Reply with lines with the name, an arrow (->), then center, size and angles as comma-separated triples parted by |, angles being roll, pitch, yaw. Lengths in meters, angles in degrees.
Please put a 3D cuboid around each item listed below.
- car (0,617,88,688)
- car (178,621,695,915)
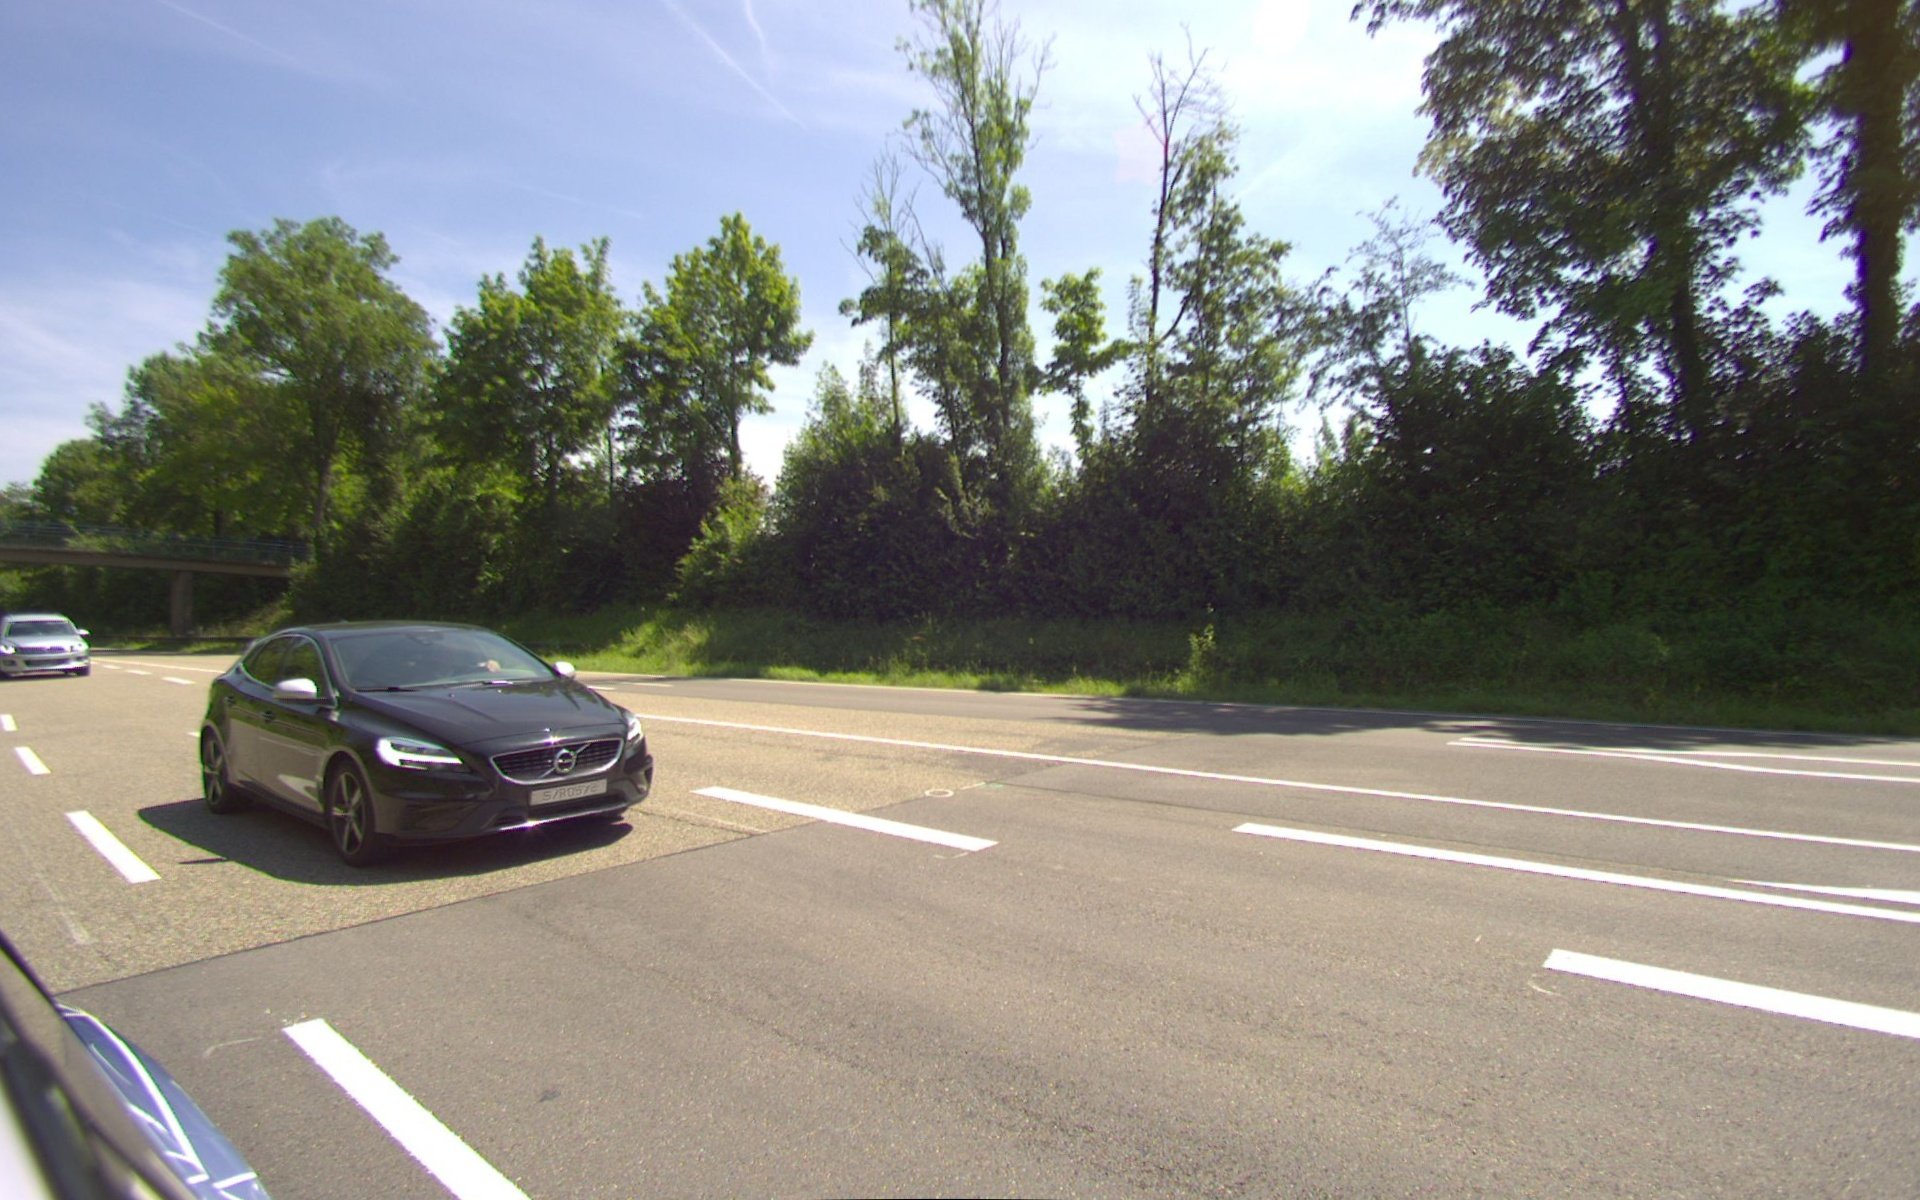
car -> -24.565, 1.341, 26.688 | 4.289, 1.682, 1.786 | -2, -1, 41
car -> -3.841, 0.868, 7.046 | 4.400, 1.409, 1.669 | -1, -1, 40
